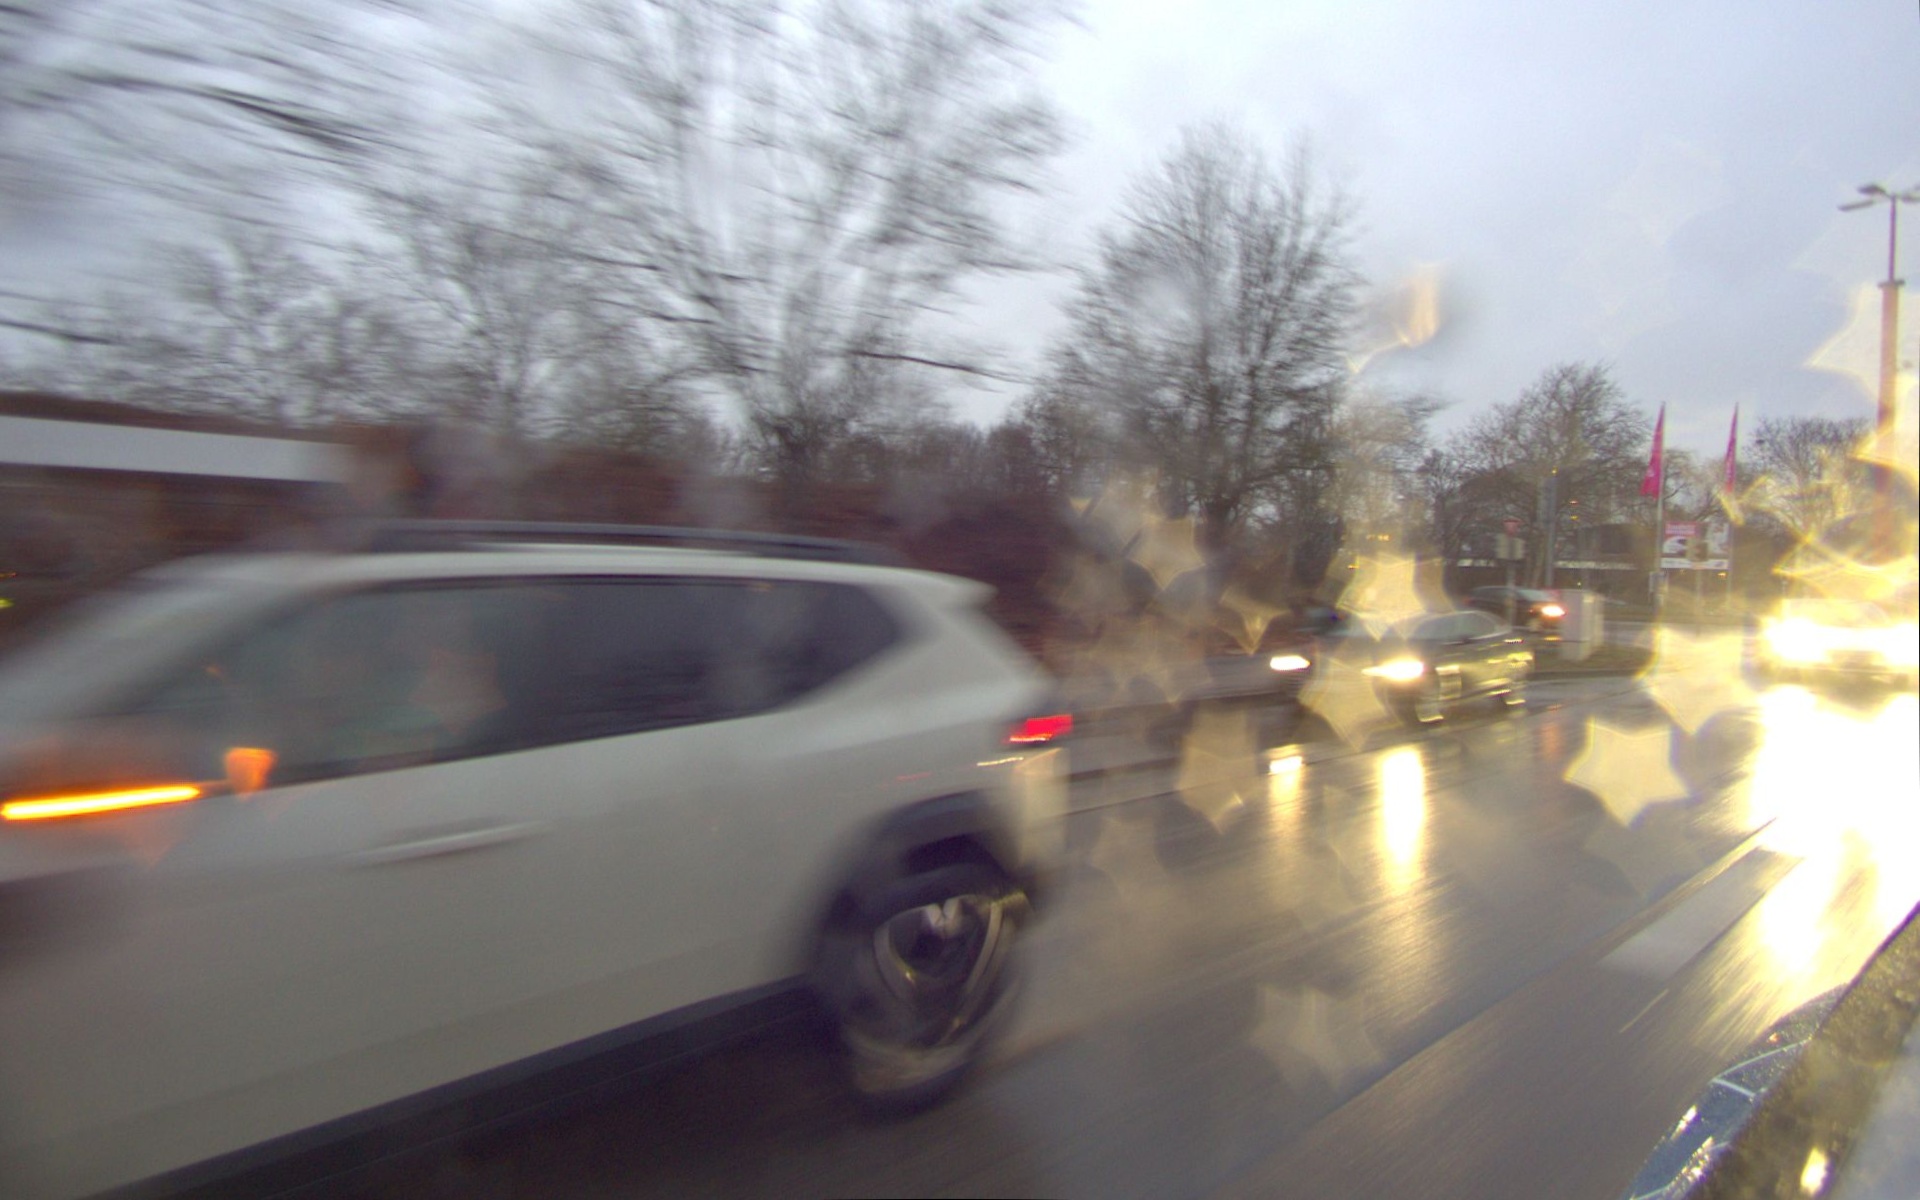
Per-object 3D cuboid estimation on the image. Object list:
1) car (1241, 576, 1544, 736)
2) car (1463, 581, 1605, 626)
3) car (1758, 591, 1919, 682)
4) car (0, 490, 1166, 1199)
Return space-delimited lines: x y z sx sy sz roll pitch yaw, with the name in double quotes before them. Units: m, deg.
"car" 5.675 0.552 12.986 4.473 1.639 1.969 -1 3 -44
"car" 19.116 0.076 33.900 1.603 1.325 4.009 0 2 -21
"car" 16.490 0.582 19.009 1.869 1.393 4.700 2 2 33
"car" -1.482 0.612 2.819 4.335 1.638 1.818 -1 2 -42
